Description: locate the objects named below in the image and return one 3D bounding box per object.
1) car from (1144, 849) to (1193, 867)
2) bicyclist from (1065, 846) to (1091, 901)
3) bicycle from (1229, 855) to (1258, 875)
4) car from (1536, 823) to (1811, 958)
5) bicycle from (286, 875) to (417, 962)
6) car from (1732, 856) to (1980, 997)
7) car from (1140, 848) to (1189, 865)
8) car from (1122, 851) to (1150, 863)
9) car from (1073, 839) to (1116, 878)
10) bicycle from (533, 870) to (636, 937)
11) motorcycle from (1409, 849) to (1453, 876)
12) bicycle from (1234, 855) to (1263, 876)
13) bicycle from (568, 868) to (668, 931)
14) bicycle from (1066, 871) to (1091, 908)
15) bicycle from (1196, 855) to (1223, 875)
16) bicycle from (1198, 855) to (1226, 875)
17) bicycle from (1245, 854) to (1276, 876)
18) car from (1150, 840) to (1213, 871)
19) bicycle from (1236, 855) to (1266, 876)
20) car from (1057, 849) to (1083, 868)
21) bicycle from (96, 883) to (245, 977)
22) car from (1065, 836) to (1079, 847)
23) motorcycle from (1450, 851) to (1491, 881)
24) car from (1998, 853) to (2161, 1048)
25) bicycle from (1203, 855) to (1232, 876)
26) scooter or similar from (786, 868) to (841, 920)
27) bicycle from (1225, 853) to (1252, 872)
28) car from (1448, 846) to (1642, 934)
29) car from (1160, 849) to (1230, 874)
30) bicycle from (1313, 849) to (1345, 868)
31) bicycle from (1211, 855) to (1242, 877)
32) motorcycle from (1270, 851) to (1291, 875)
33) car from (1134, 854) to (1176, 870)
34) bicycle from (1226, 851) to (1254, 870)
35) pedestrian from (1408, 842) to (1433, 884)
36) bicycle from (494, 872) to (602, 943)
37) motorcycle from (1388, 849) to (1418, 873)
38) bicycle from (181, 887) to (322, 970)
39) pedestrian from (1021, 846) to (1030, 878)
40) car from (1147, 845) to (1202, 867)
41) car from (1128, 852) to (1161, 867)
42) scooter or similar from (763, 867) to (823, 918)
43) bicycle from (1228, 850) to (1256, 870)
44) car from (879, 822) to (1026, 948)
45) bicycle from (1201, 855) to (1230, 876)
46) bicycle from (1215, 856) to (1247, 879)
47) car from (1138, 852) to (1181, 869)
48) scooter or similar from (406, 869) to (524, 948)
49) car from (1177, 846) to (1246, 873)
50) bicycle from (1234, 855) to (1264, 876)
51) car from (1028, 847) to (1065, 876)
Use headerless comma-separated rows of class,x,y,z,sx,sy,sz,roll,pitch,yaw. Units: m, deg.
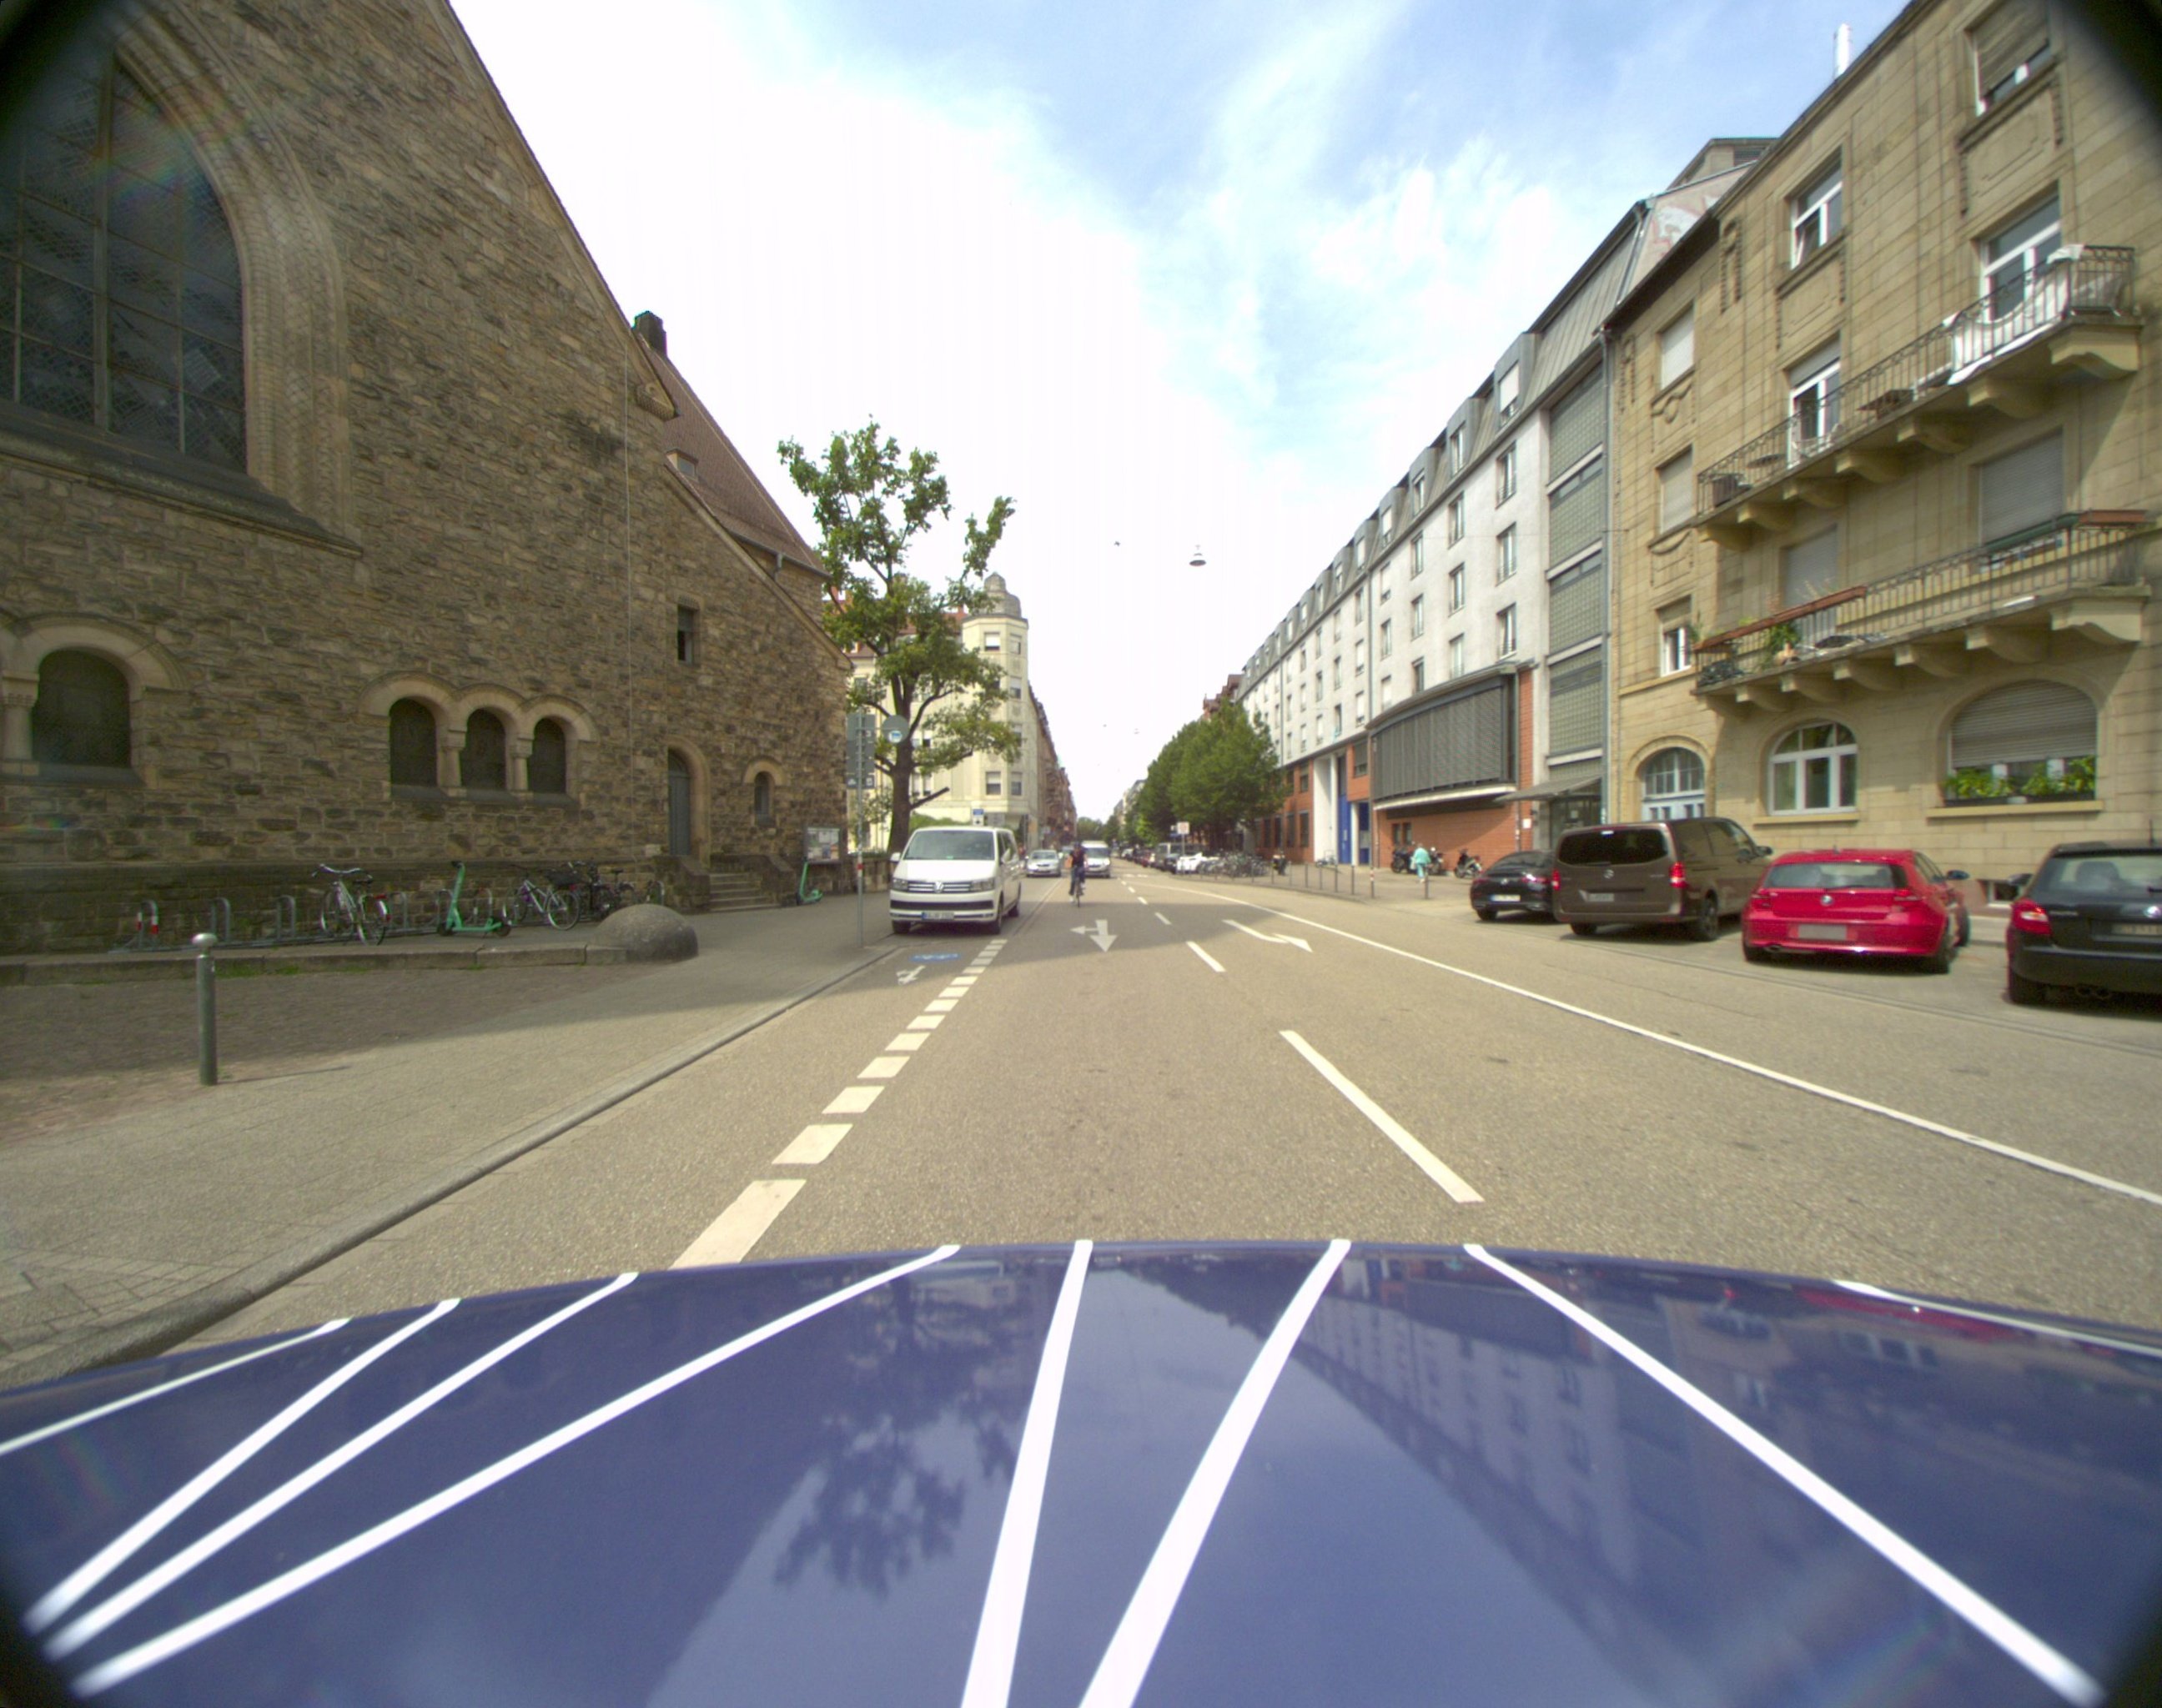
car,7.440,0.338,64.637,4.012,1.381,1.592,-1,0,-32
bicyclist,-0.070,0.509,20.292,0.649,1.408,1.094,-1,0,2
bicycle,8.555,0.574,39.954,1.409,1.020,0.402,-1,1,3
car,10.255,0.483,13.016,5.280,1.899,2.116,-1,0,-33
bicycle,-10.031,0.858,10.445,1.778,1.105,0.547,0,0,20
car,10.086,0.761,9.805,4.020,1.401,1.792,-1,0,-38
car,7.358,0.210,66.851,4.012,1.445,1.687,-1,0,-32
car,8.377,0.419,115.196,4.012,1.746,1.687,-1,0,-32
car,0.773,0.252,40.048,1.942,1.913,4.008,-1,0,5
bicycle,-8.654,0.837,13.237,1.771,1.105,0.547,0,0,20
motorcycle,14.495,0.351,31.527,0.585,1.042,1.965,-2,0,-10
bicycle,8.630,0.593,39.135,1.409,1.020,0.402,-1,1,3
bicycle,-8.444,0.806,13.853,1.778,1.105,0.547,0,0,20
bicycle,-0.043,0.920,20.236,0.586,0.927,1.783,-1,0,2
bicycle,7.136,0.622,42.237,1.409,1.020,0.402,-3,0,3
bicycle,7.119,0.616,41.429,1.409,1.020,0.402,-3,0,3
bicycle,8.714,0.523,36.868,1.409,1.020,0.402,-1,1,3
car,7.064,0.123,53.388,4.011,1.986,1.857,-3,1,-30
bicycle,8.527,0.596,38.115,1.409,1.020,0.402,-1,1,3
car,-0.954,0.417,68.649,1.853,1.661,4.008,-1,0,5
bicycle,-10.764,0.864,8.982,1.778,0.952,0.547,2,1,20
car,-1.366,-1.918,114.274,1.854,1.505,4.006,-1,0,2
motorcycle,14.251,0.413,27.827,0.585,1.042,1.794,-2,0,2
car,10.191,0.763,7.135,4.004,1.494,1.627,-1,0,-34
bicycle,7.081,0.591,39.514,1.409,1.032,0.402,-3,0,3
scooter or similar,-6.519,0.947,18.560,0.545,1.200,1.444,0,0,14
bicycle,8.631,0.467,41.722,1.409,1.020,0.402,-1,1,3
car,9.892,0.679,16.036,4.679,1.401,1.895,-4,0,-38
car,7.181,0.439,47.706,4.324,1.460,1.713,-1,0,-33
bicycle,14.564,0.241,44.717,1.613,0.920,0.932,-6,-1,13
bicycle,7.169,0.595,37.510,1.409,1.032,0.402,-3,0,3
motorcycle,9.808,0.434,37.446,0.585,1.166,1.780,-2,0,3
car,7.549,0.822,77.642,4.012,1.558,1.687,-1,0,-32
bicycle,8.599,0.342,41.130,1.409,1.020,0.402,-1,1,3
pedestrian,12.381,0.325,27.735,0.662,1.477,0.509,-1,1,-1
bicycle,-8.886,0.862,12.664,1.778,1.105,0.547,0,0,20
motorcycle,14.344,0.317,33.926,0.585,1.042,1.657,-2,0,0
bicycle,-10.482,0.911,9.599,1.778,0.951,0.547,0,0,20
pedestrian,-2.942,0.418,40.215,0.468,1.725,0.410,0,1,0
car,7.297,0.162,59.023,4.012,1.605,1.708,-1,0,-32
car,8.114,0.671,97.087,4.012,1.847,1.687,-1,0,-32
scooter or similar,-7.128,0.931,18.865,0.545,1.200,1.483,0,0,21
bicycle,8.554,0.313,40.437,1.409,1.020,0.402,-1,1,3
car,-2.277,0.467,14.903,2.019,2.018,5.122,1,1,0
bicycle,7.087,0.603,40.156,1.409,1.020,0.402,-3,0,3
bicycle,7.223,0.628,36.617,1.409,1.032,0.402,-3,0,3
car,7.728,0.636,75.071,4.012,1.558,1.687,-1,0,-32
scooter or similar,-9.377,0.800,11.566,1.778,1.133,0.547,0,0,20
car,7.796,0.318,45.237,4.013,1.536,1.598,-1,0,-33
bicycle,8.557,0.576,38.651,1.409,1.020,0.402,-1,1,3
car,-1.780,0.403,40.481,1.759,1.460,4.418,0,0,0
